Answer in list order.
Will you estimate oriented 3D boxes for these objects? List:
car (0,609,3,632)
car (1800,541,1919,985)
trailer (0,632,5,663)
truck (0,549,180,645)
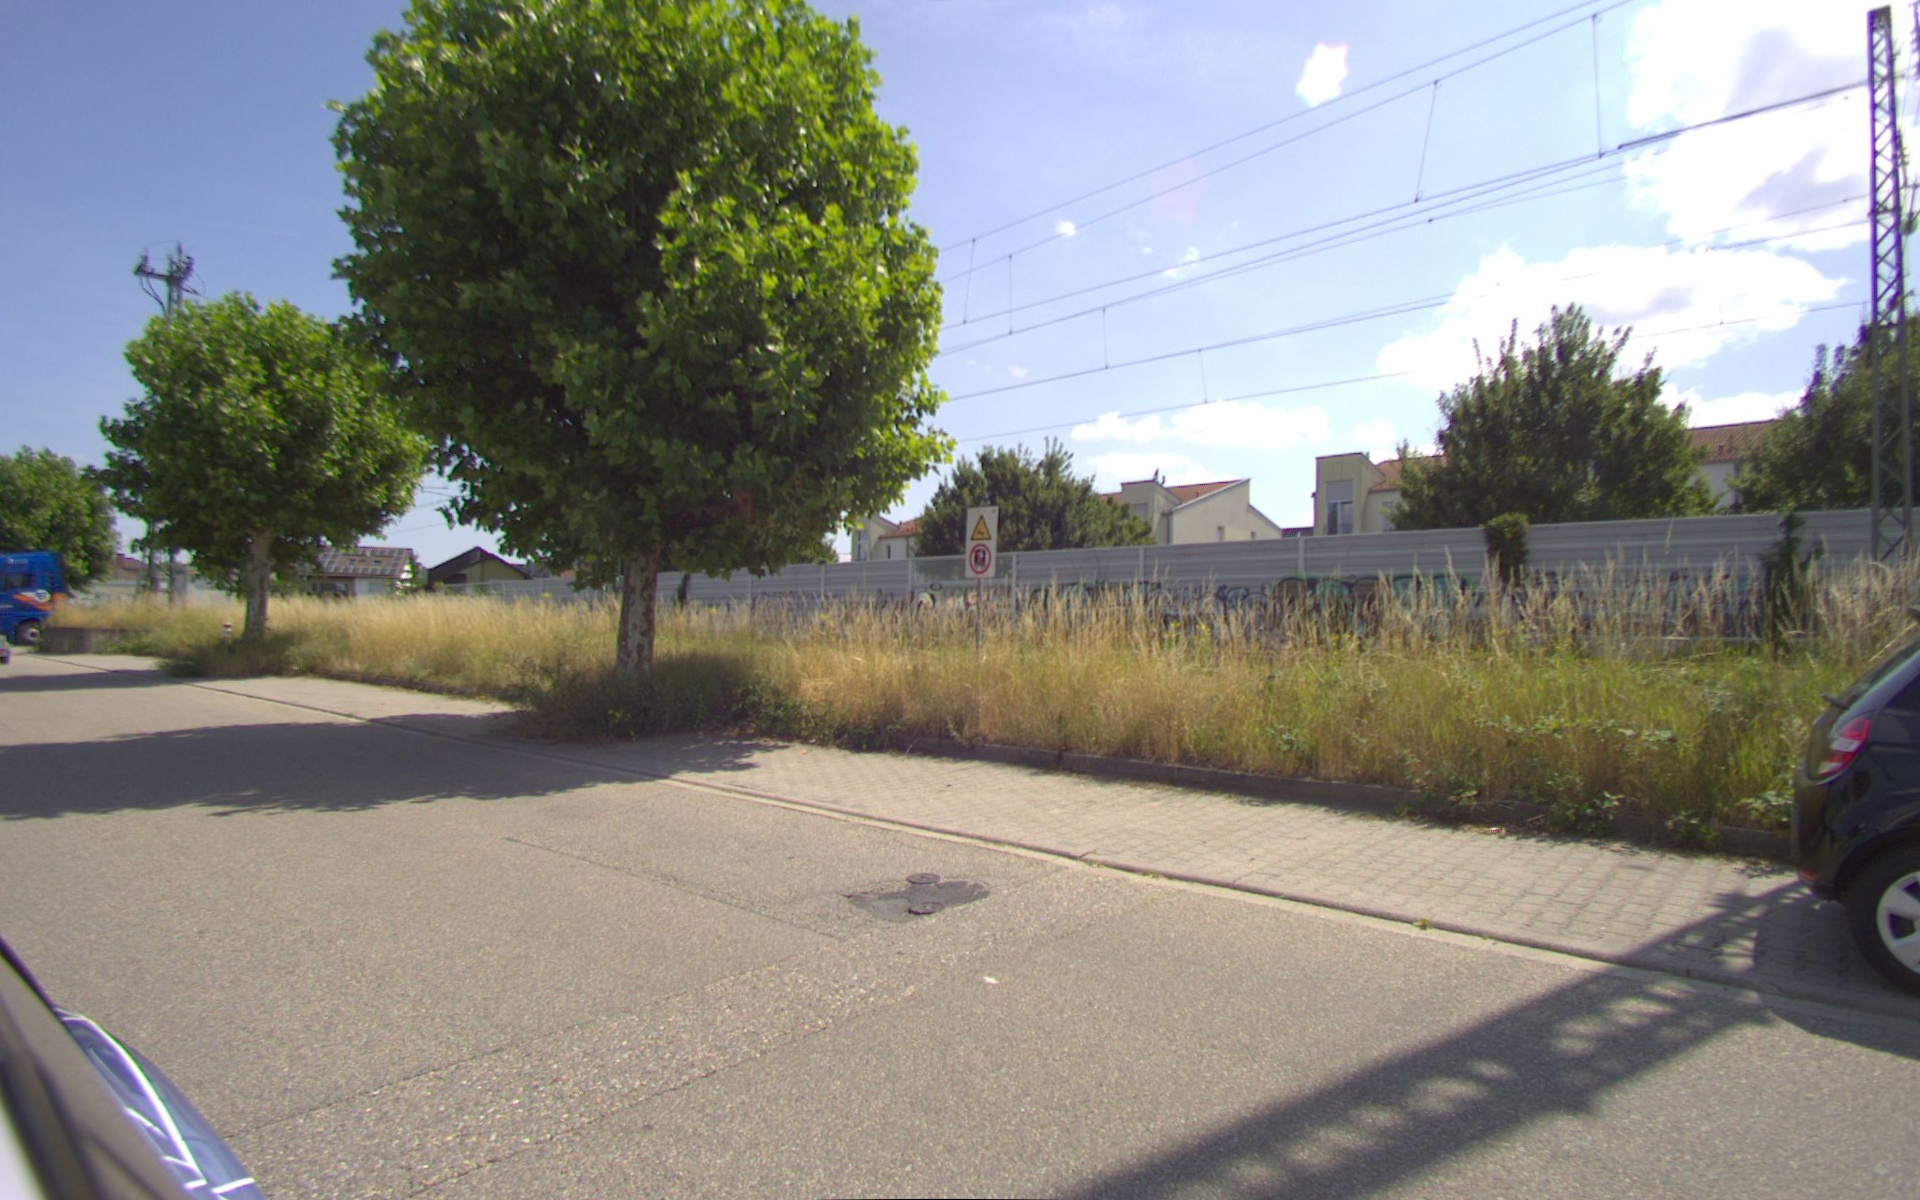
[{"bbox_3d":[-62.689,1.278,63.358,1.787,1.461,3.901,-1,-2,44],"label":"car"},{"bbox_3d":[5.167,0.585,3.392,3.576,1.608,1.724,-1,-1,40],"label":"car"},{"bbox_3d":[-28.888,1.327,28.991,4.220,0.857,1.799,-2,-3,41],"label":"trailer"},{"bbox_3d":[-37.982,-0.049,43.497,2.660,3.852,6.552,-1,-2,37],"label":"truck"}]
